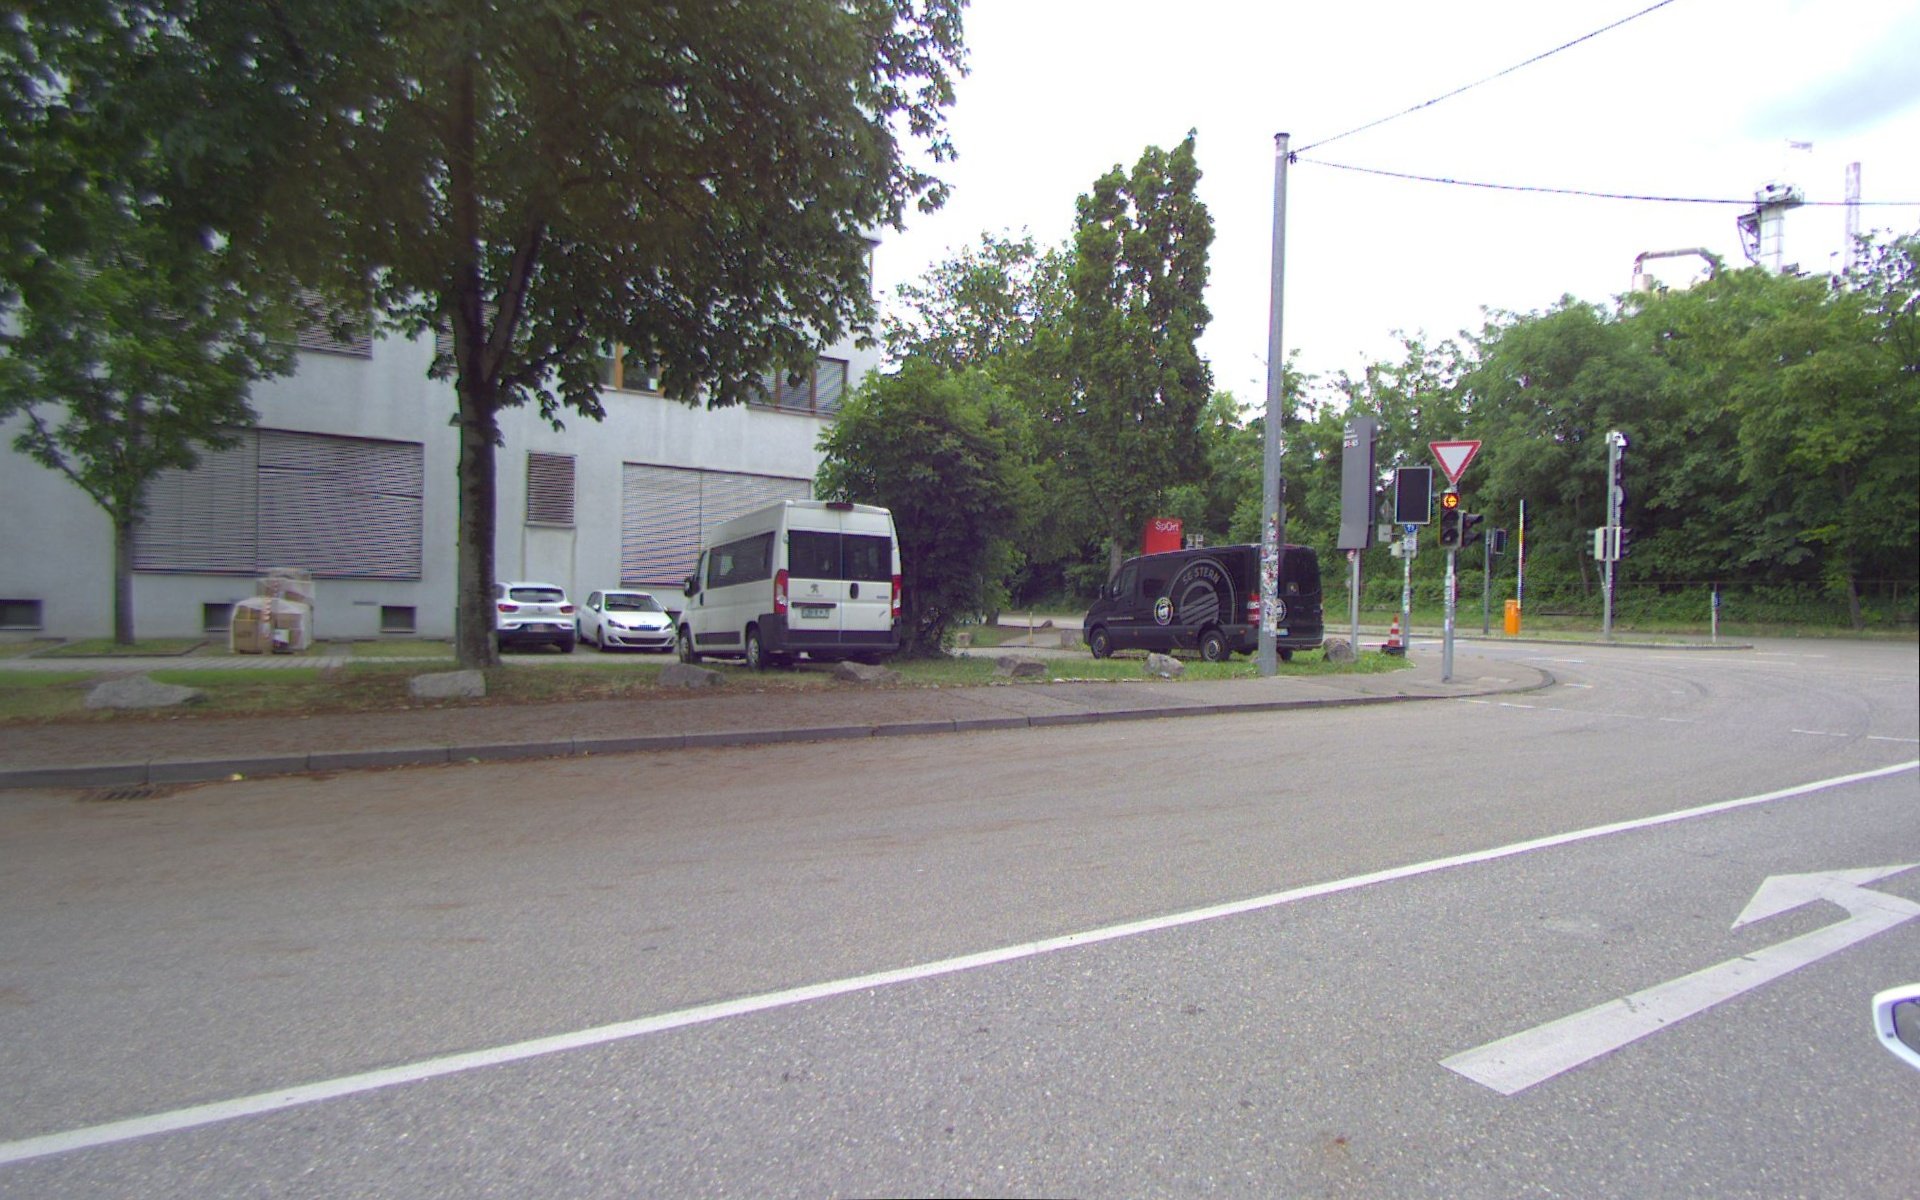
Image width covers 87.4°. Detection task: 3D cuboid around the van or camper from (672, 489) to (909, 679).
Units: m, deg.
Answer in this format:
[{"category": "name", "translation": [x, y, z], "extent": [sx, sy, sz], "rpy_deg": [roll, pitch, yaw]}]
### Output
[{"category": "van or camper", "translation": [-2.963, -0.236, 16.441], "extent": [2.039, 2.604, 4.943], "rpy_deg": [3, 0, -32]}]

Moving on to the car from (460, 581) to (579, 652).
[{"category": "car", "translation": [-10.575, 0.359, 23.978], "extent": [1.881, 1.475, 3.972], "rpy_deg": [3, 0, -34]}]

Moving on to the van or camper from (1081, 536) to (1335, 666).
[{"category": "van or camper", "translation": [5.008, 0.125, 21.258], "extent": [2.036, 2.343, 5.513], "rpy_deg": [3, -3, -28]}]

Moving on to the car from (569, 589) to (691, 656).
[{"category": "car", "translation": [-8.478, 0.527, 25.598], "extent": [1.881, 1.475, 3.972], "rpy_deg": [3, 0, -34]}]
